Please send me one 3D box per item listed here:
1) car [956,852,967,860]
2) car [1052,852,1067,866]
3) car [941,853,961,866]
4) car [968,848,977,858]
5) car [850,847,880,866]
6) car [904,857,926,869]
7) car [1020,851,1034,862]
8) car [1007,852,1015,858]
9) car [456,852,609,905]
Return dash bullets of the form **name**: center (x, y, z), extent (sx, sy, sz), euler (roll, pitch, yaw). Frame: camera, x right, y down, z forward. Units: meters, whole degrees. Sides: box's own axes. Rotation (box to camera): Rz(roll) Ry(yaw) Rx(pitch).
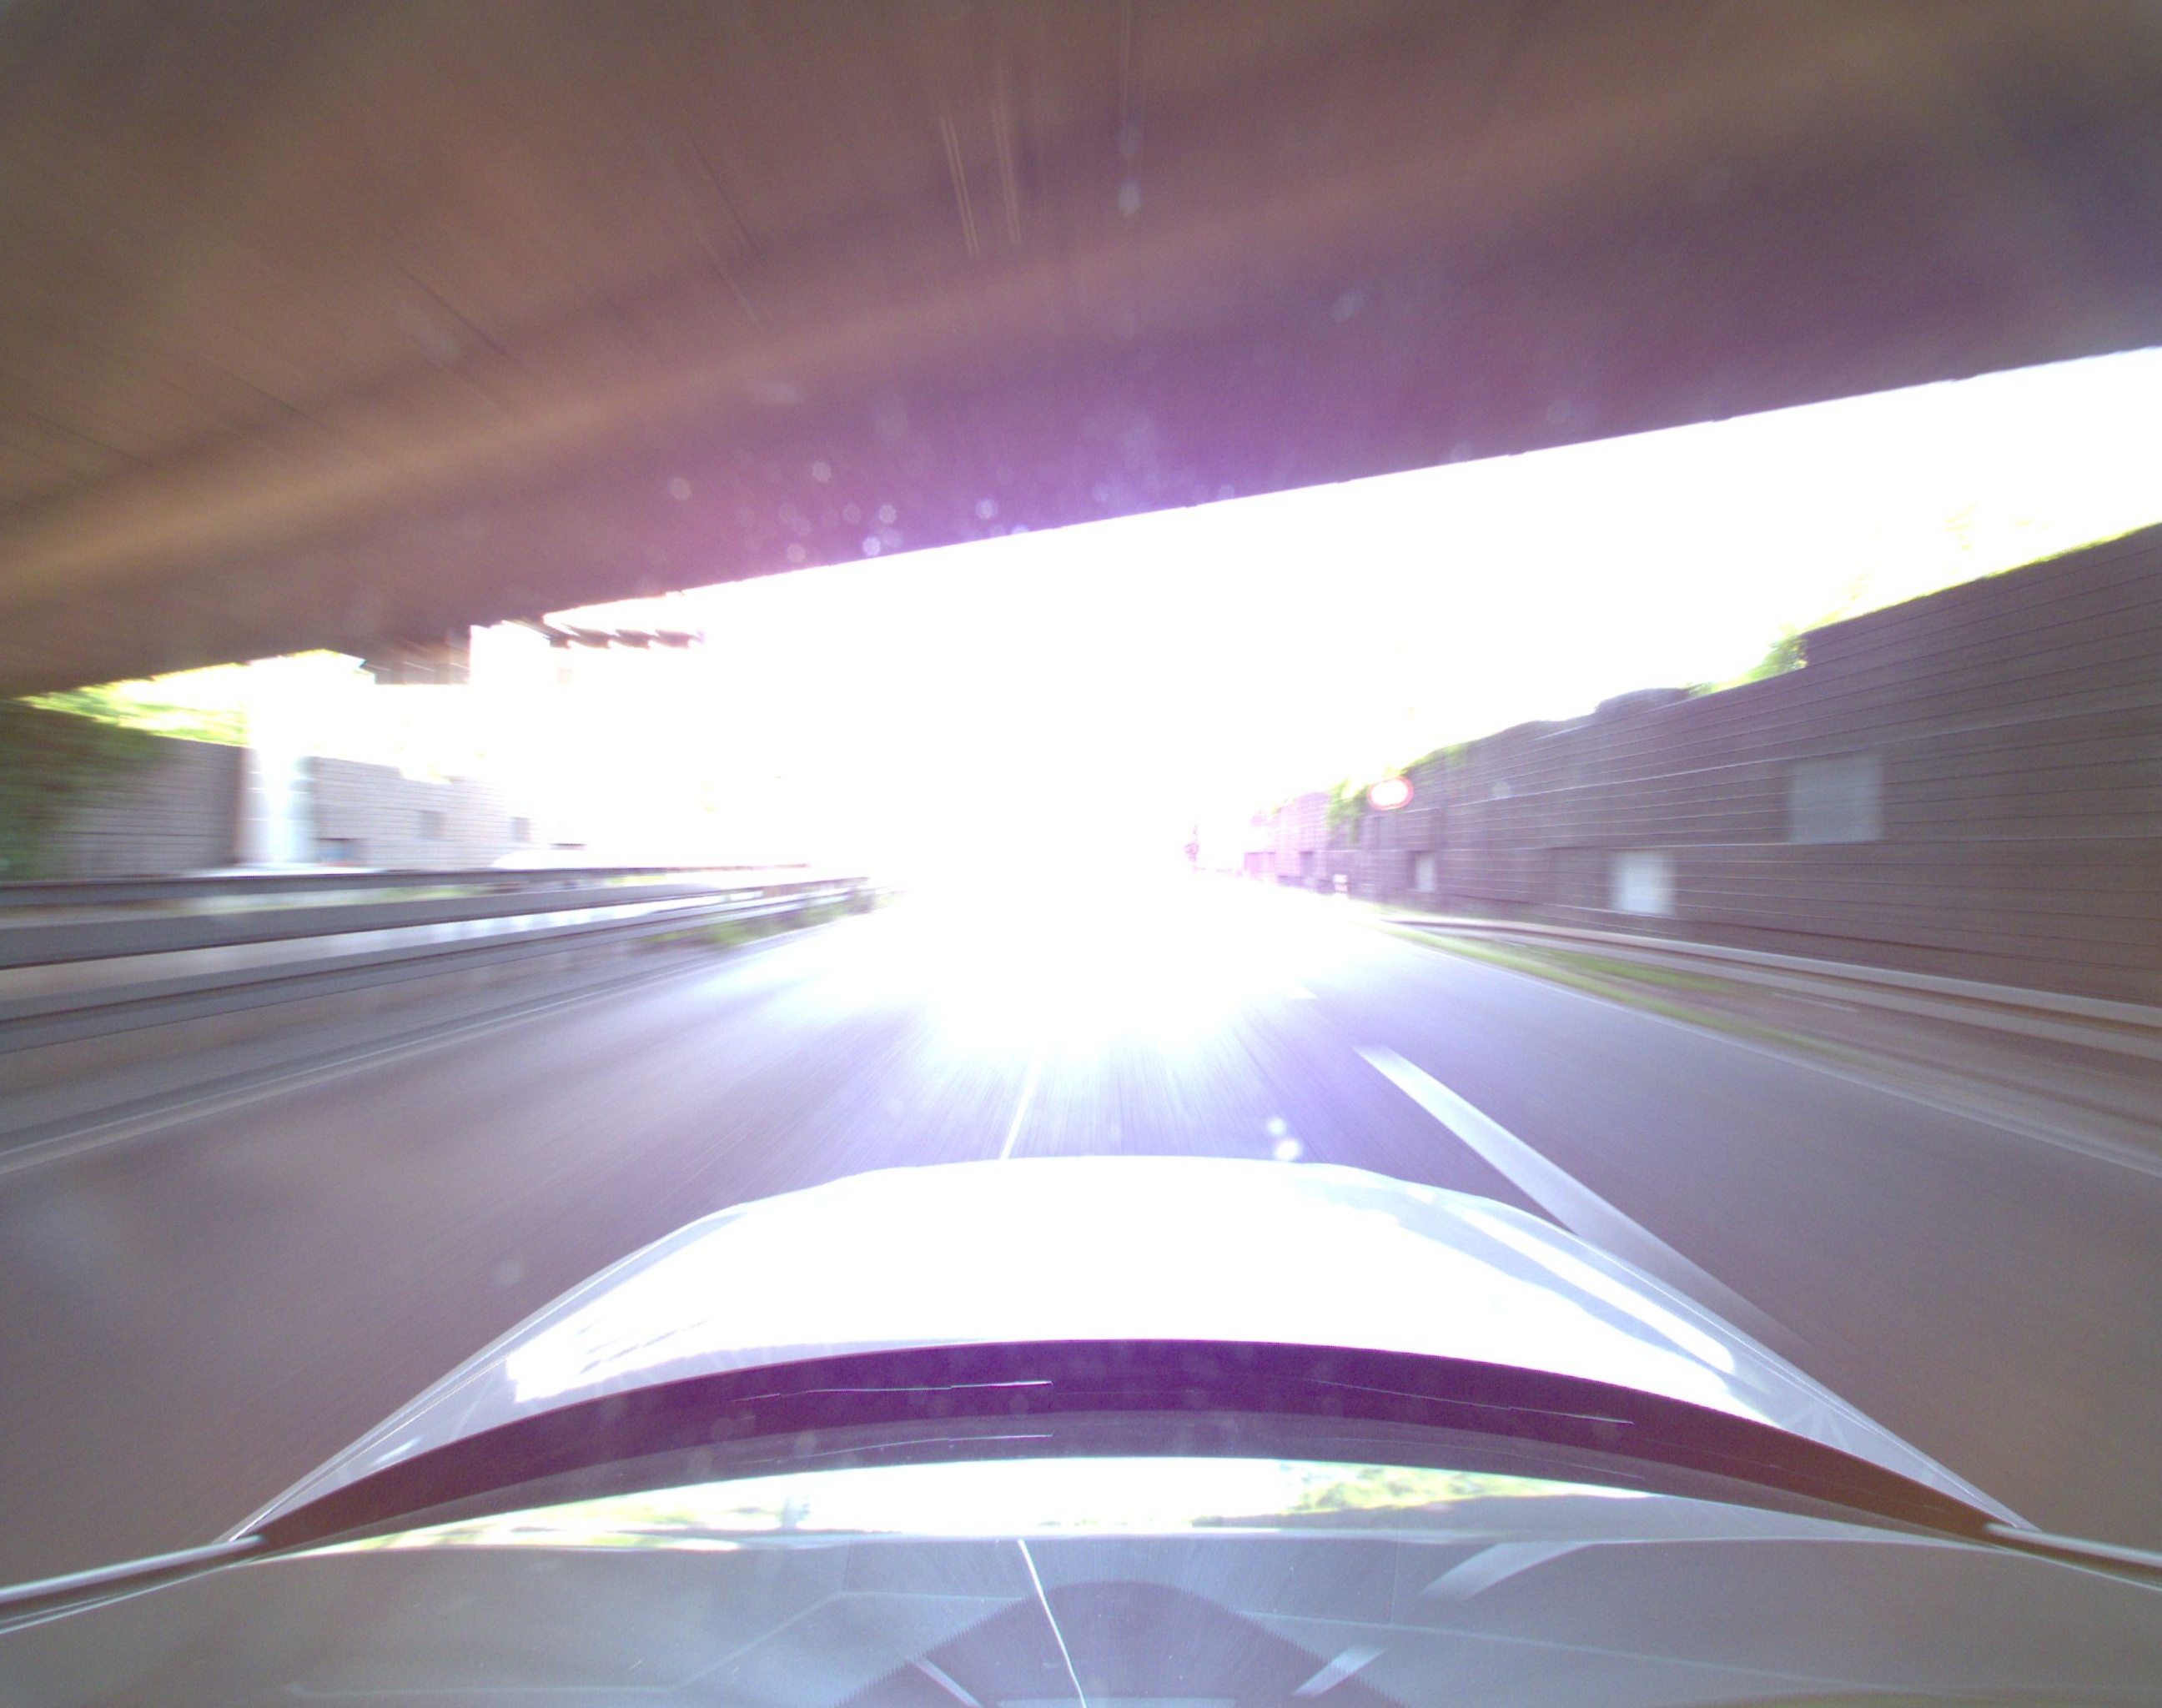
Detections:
- **car**: center (-25.233, 0.362, 172.578), extent (1.990, 1.480, 4.527), euler (2, 1, -5)
- **car**: center (-3.124, 0.691, 119.969), extent (1.987, 1.925, 4.000), euler (1, 0, 0)
- **car**: center (-17.471, 0.770, 109.541), extent (1.892, 1.574, 4.805), euler (2, 1, -2)
- **car**: center (-30.380, -0.408, 228.930), extent (2.117, 2.683, 6.578), euler (2, 0, -4)
- **car**: center (-18.723, 0.194, 70.815), extent (1.541, 1.574, 4.393), euler (2, 1, -2)
- **car**: center (-20.330, 1.081, 99.714), extent (1.892, 1.421, 4.132), euler (-1, 1, -2)
- **car**: center (-9.088, 0.387, 137.831), extent (1.987, 1.925, 4.000), euler (1, 0, 0)
- **car**: center (-21.954, 0.204, 254.865), extent (1.993, 1.925, 3.987), euler (1, 0, -9)
- **car**: center (-18.065, 0.746, 27.138), extent (1.986, 1.596, 4.429), euler (0, 0, 2)
